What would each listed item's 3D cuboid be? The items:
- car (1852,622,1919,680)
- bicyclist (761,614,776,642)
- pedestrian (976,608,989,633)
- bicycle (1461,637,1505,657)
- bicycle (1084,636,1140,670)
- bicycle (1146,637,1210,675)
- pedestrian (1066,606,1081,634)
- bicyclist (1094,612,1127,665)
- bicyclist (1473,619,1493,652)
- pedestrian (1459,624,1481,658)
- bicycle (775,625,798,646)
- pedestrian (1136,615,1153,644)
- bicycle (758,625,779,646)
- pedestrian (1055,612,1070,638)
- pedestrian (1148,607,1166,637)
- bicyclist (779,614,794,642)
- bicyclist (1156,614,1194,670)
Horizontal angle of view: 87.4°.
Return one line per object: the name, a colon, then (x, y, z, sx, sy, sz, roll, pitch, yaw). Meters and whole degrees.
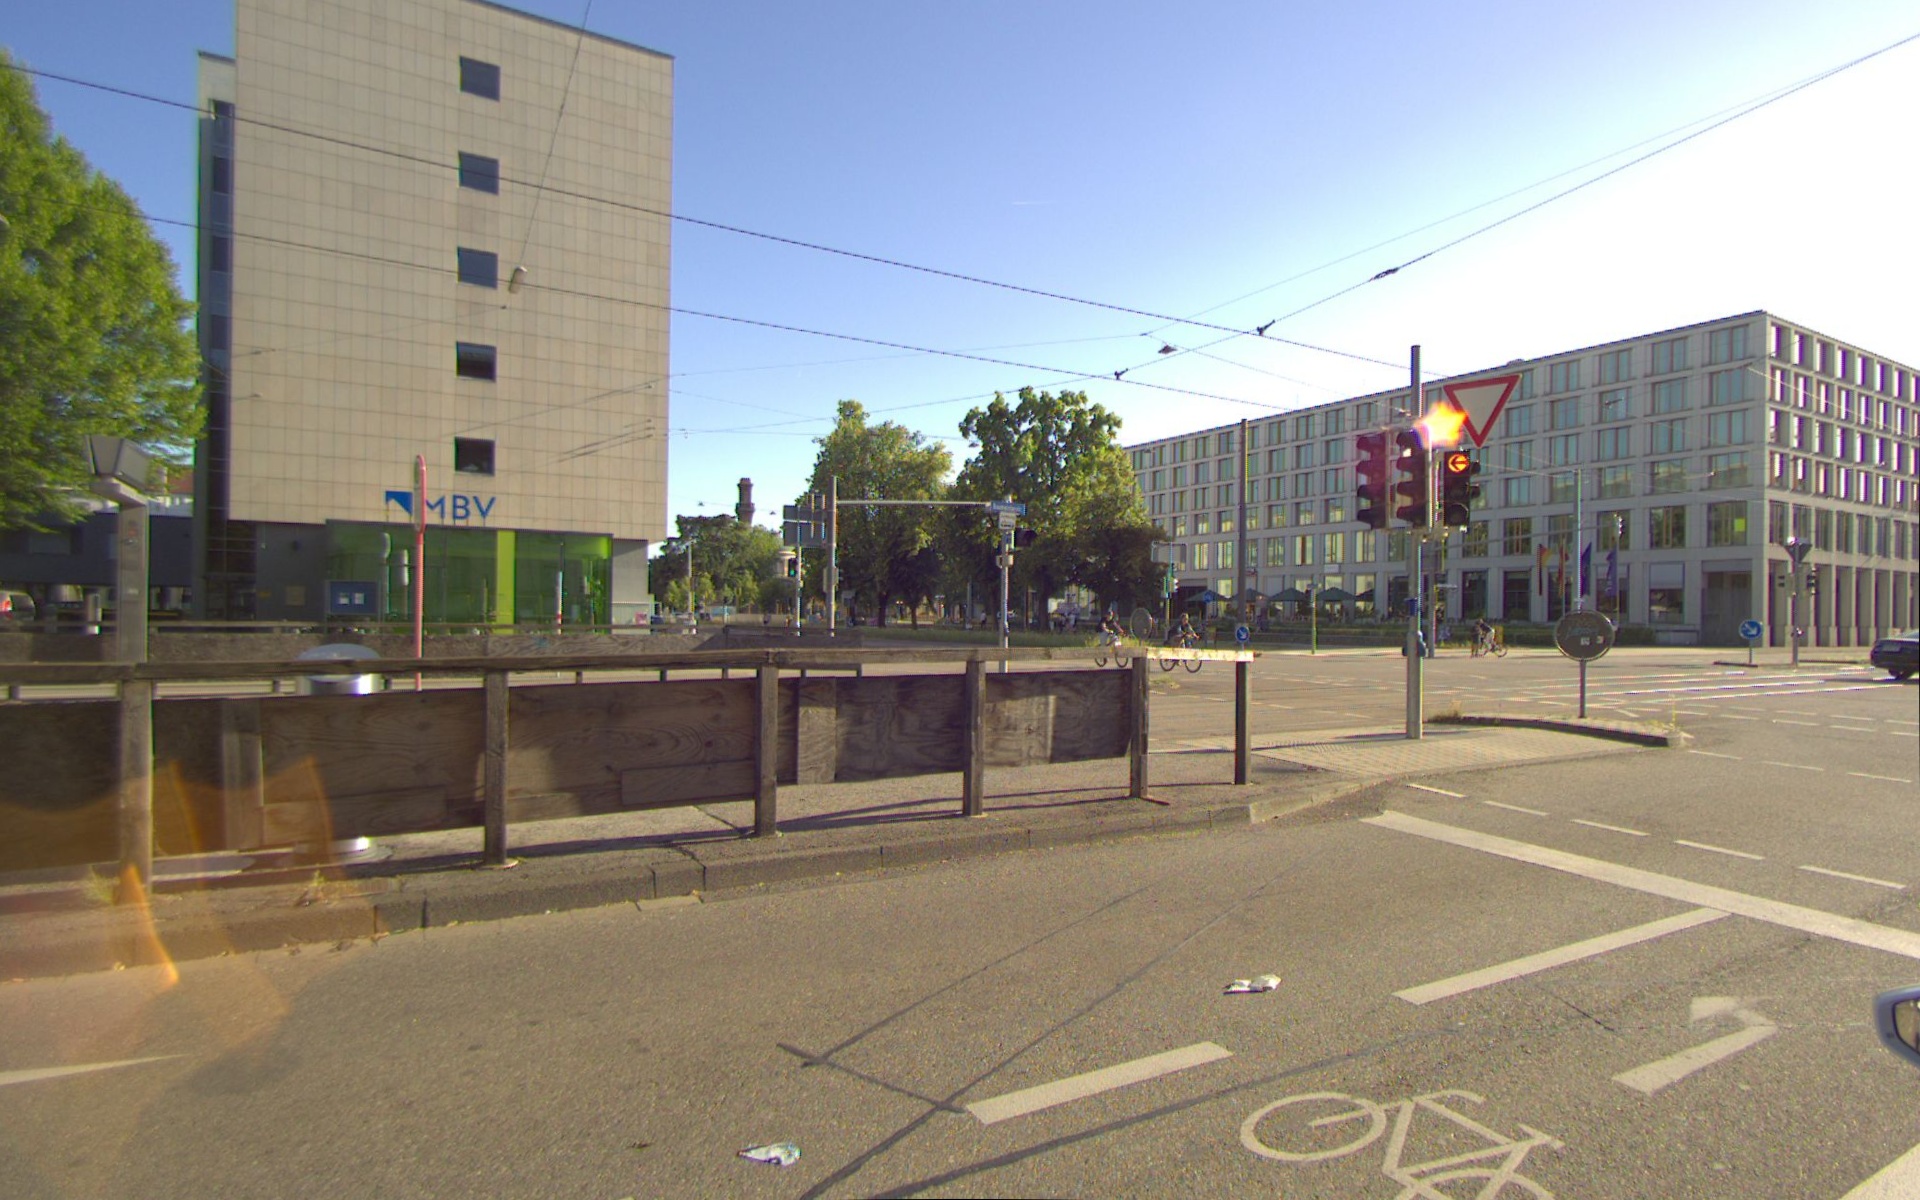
car: (26.769, 1.392, 26.829, 4.344, 1.474, 1.666, 1, 0, 1)
bicyclist: (-10.687, 1.570, 55.949, 0.647, 1.544, 0.615, 1, -1, -32)
pedestrian: (1.929, 1.748, 86.003, 0.813, 2.040, 0.840, 2, 0, -25)
bicycle: (25.926, 2.330, 49.808, 1.833, 0.947, 0.760, 0, -1, 37)
bicycle: (4.518, 1.573, 30.002, 0.554, 0.947, 1.846, 1, -1, -34)
bicycle: (5.799, 1.469, 26.827, 0.639, 0.947, 1.733, 1, -1, -32)
pedestrian: (8.643, 1.525, 76.446, 0.814, 2.040, 0.839, 2, 0, -27)
bicyclist: (4.503, 1.145, 30.054, 0.600, 1.544, 0.758, 1, -1, -34)
bicyclist: (25.946, 1.734, 49.791, 0.765, 1.610, 0.759, 0, -1, 36)
pedestrian: (24.901, 1.990, 49.022, 0.586, 1.610, 0.769, 1, -1, -39)
bicycle: (-9.754, 2.001, 56.427, 0.616, 1.148, 1.869, 1, -1, -31)
pedestrian: (12.589, 1.999, 68.543, 0.862, 1.925, 0.714, 2, 0, -21)
bicycle: (-10.686, 1.966, 55.937, 0.574, 1.148, 1.776, 1, -1, -31)
pedestrian: (7.784, 1.892, 76.070, 0.864, 1.925, 0.713, 2, 0, -28)
pedestrian: (13.538, 1.500, 69.089, 0.812, 2.040, 0.841, 2, 0, -20)
bicyclist: (-9.758, 1.576, 56.452, 0.602, 1.544, 0.709, 1, -1, -32)
bicyclist: (5.754, 1.110, 26.887, 0.611, 1.470, 0.794, 1, -1, -32)
